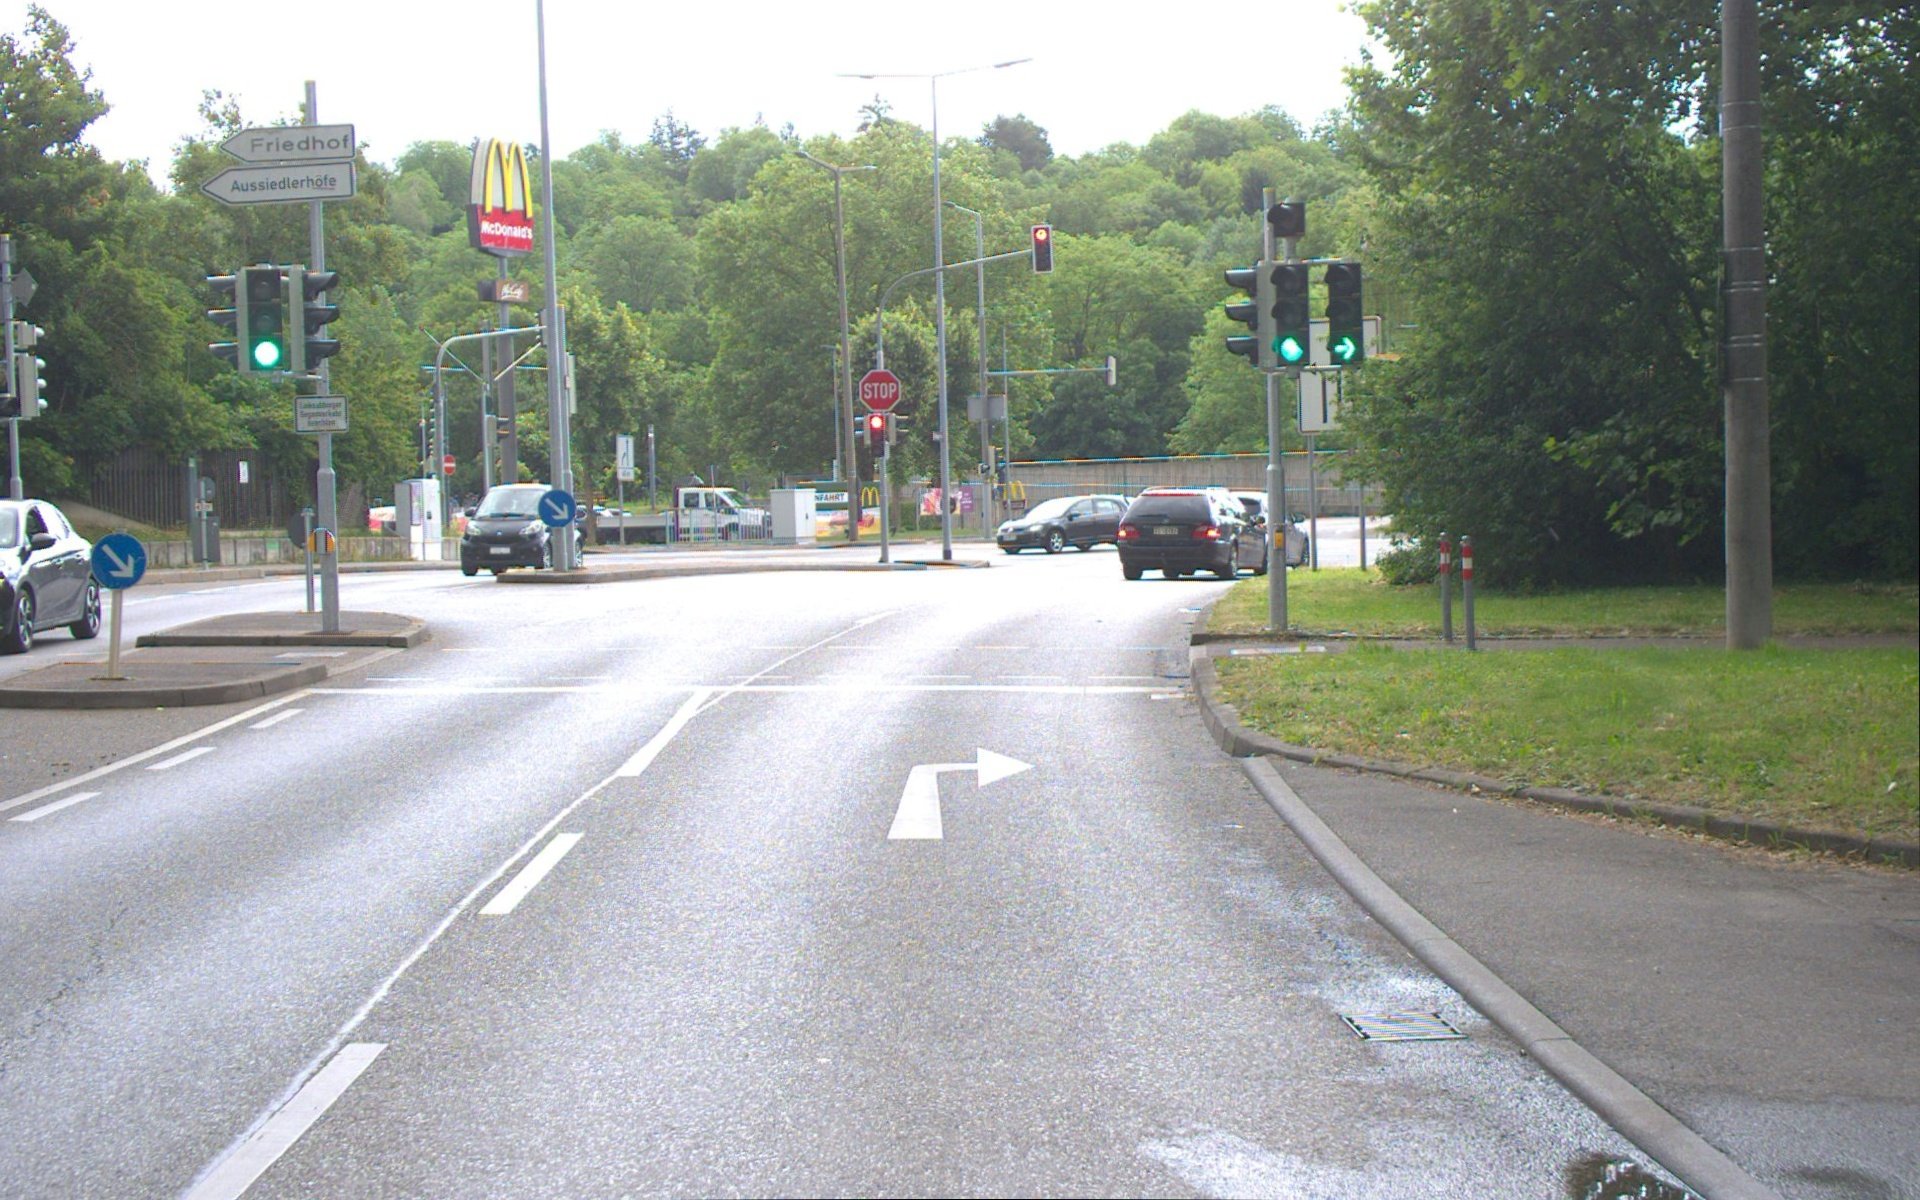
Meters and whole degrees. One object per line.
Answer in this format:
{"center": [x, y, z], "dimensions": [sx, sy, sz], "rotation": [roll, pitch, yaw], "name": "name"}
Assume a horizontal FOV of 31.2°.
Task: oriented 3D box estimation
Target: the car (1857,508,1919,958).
{"center": [4.663, 0.453, 9.766], "dimensions": [1.728, 1.424, 4.113], "rotation": [-2, 3, -29], "name": "car"}

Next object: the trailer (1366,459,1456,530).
{"center": [17.378, -4.032, 132.266], "dimensions": [2.354, 2.573, 4.915], "rotation": [-2, 1, 20], "name": "trailer"}

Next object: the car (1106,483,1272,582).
{"center": [3.797, -1.125, 56.256], "dimensions": [1.823, 1.504, 4.571], "rotation": [-1, 1, 15], "name": "car"}

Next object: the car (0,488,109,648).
{"center": [-9.438, -0.315, 32.899], "dimensions": [1.568, 1.377, 3.950], "rotation": [-3, 3, 0], "name": "car"}

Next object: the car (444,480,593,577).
{"center": [-7.538, -1.245, 58.951], "dimensions": [1.569, 1.521, 3.188], "rotation": [-1, 3, 11], "name": "car"}

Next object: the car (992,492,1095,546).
{"center": [2.237, -2.151, 90.847], "dimensions": [1.678, 1.361, 4.308], "rotation": [0, 2, 16], "name": "car"}
